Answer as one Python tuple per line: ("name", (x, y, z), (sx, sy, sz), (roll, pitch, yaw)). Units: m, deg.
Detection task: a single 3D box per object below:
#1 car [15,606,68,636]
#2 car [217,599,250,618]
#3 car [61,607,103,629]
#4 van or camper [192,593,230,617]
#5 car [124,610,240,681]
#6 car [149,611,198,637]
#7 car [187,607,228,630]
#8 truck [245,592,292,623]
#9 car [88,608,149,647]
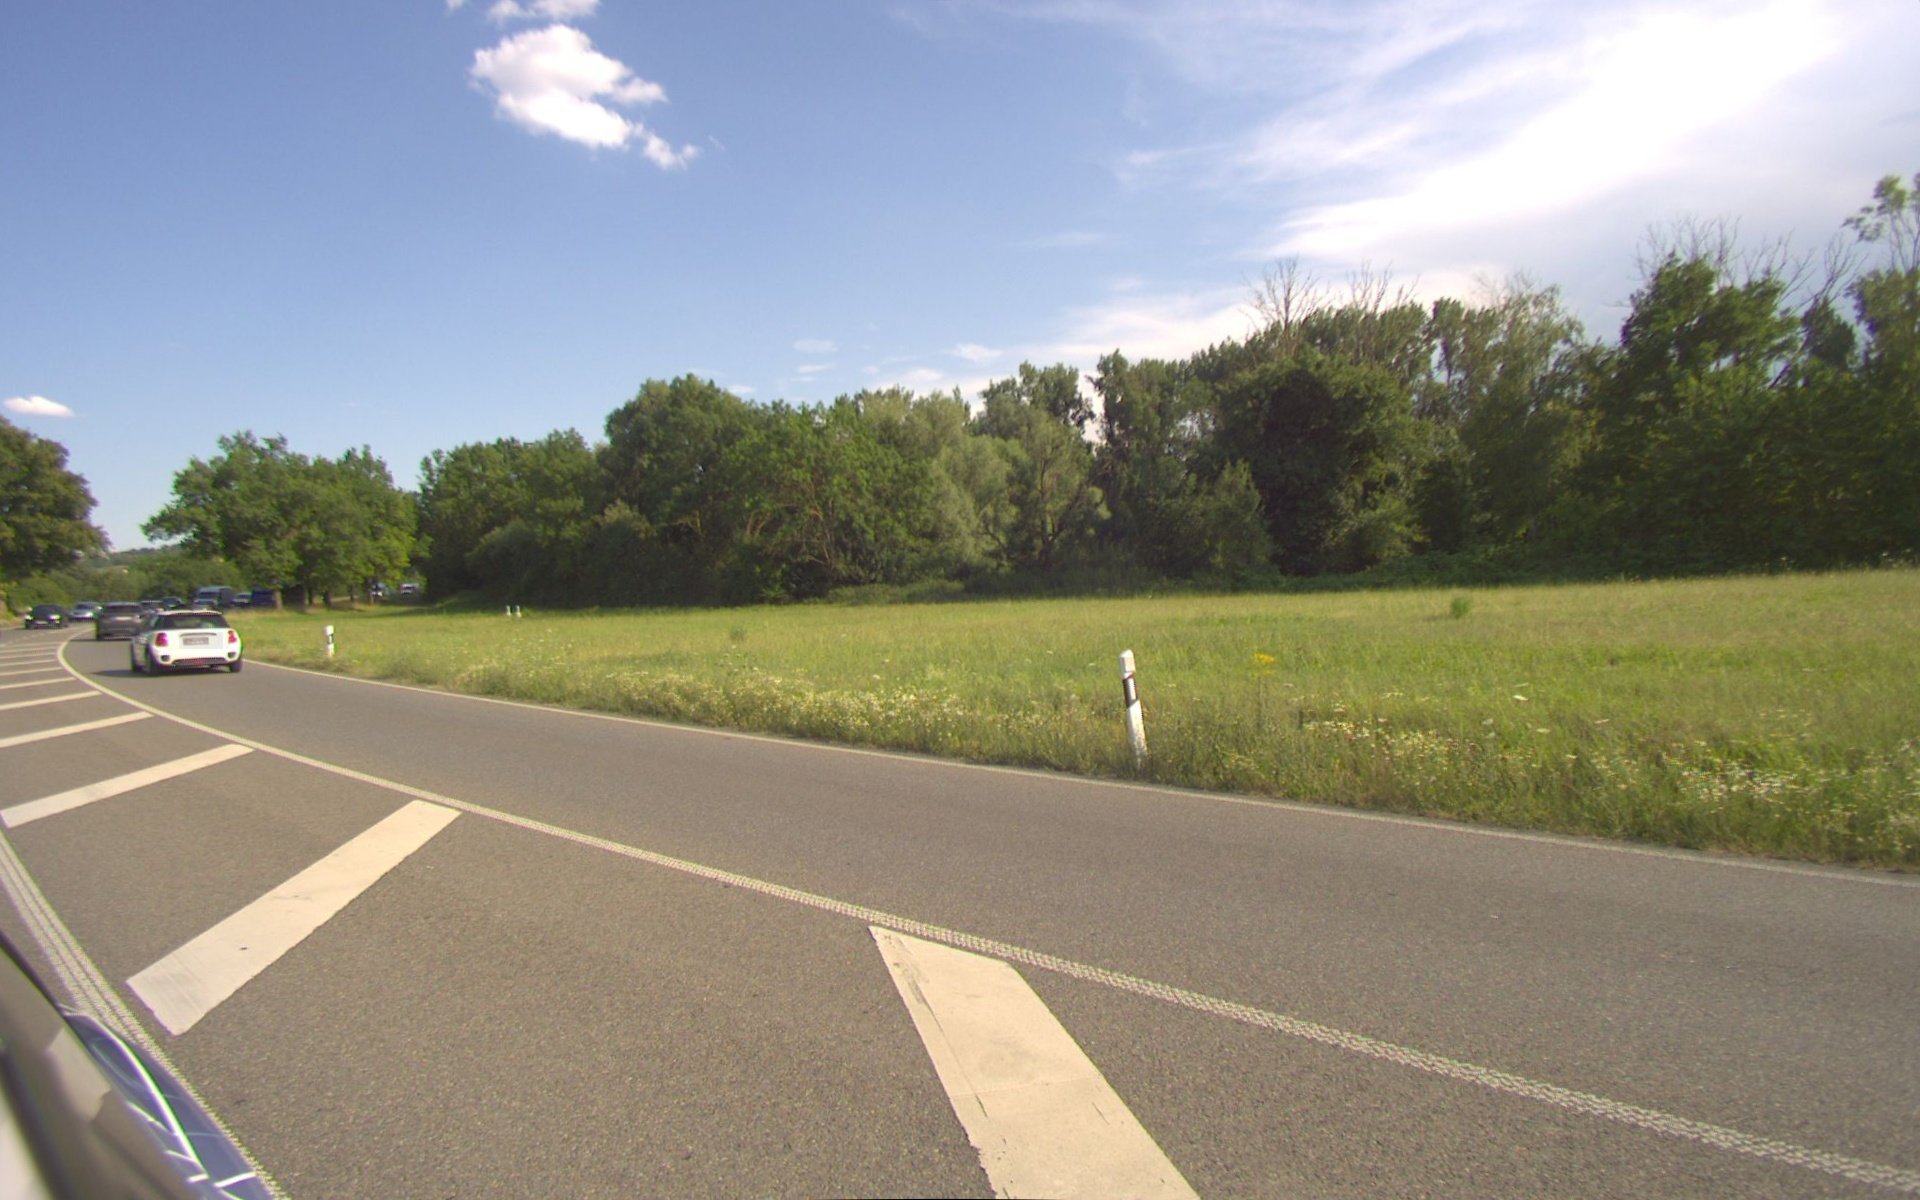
("car", (-56.030, 1.265, 61.786), (1.646, 1.741, 3.679), (-1, 0, -30))
("car", (-85.368, 0.945, 118.949), (1.966, 2.028, 4.013), (-4, 1, -19))
("car", (-65.988, 1.333, 76.092), (1.608, 1.570, 3.428), (1, 0, -27))
("van or camper", (-82.206, 0.494, 111.101), (2.000, 2.493, 5.094), (-3, 2, -21))
("car", (-17.791, 0.981, 23.100), (1.726, 1.478, 3.482), (0, -1, -44))
("car", (-55.850, 1.688, 71.945), (1.966, 1.563, 4.013), (-4, 2, -27))
("car", (-69.223, 1.644, 93.190), (1.966, 1.871, 4.013), (-4, 2, -22))
("truck", (-79.673, 0.837, 116.762), (2.875, 3.236, 6.704), (-4, 2, -21))
("car", (-36.673, 1.164, 44.186), (1.902, 1.598, 4.082), (0, -1, -38))
